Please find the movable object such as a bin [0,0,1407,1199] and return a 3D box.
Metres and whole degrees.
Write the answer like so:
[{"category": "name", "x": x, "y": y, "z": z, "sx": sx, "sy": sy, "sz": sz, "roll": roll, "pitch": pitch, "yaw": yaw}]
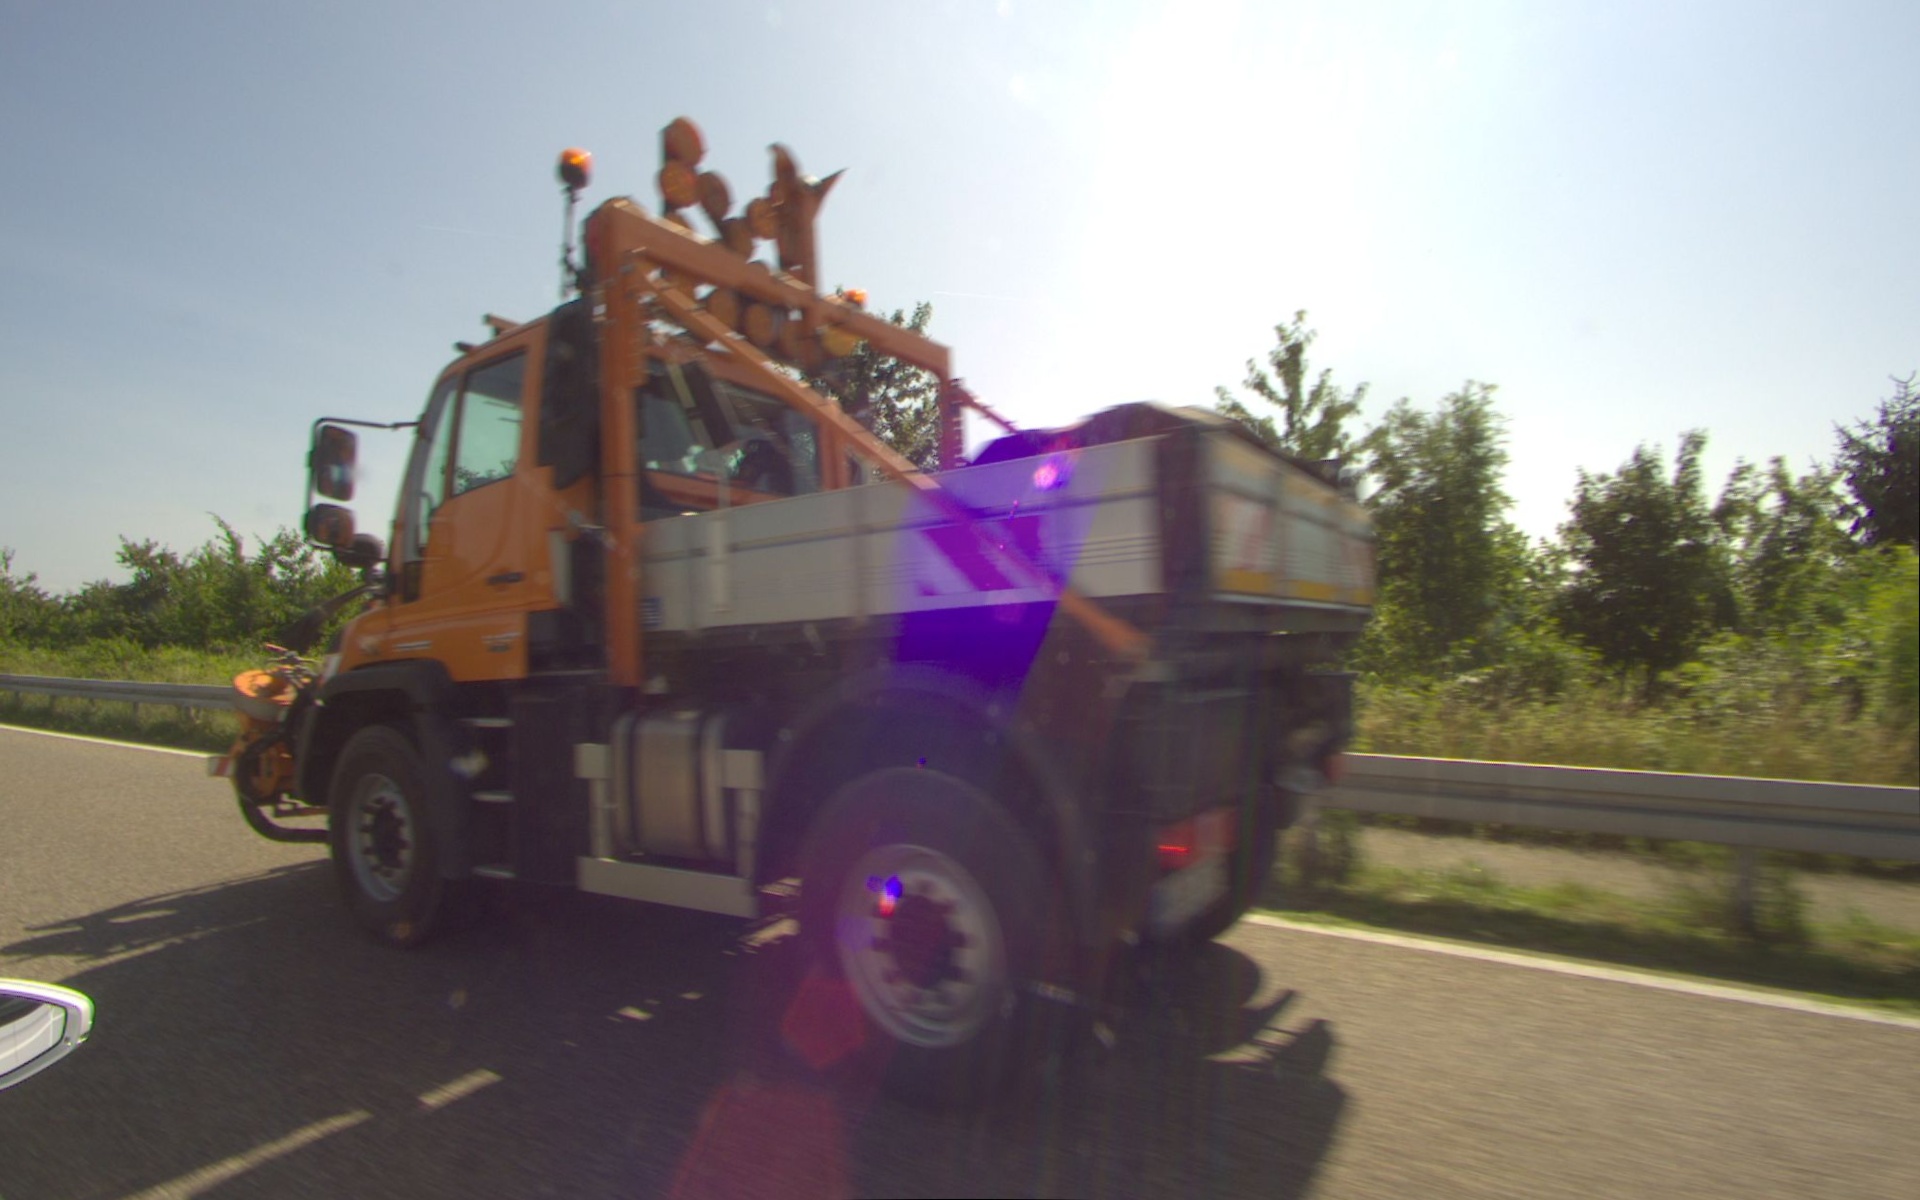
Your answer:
[{"category": "movable object such as a bin", "x": -2.590, "y": -0.321, "z": 5.981, "sx": 9.314, "sy": 3.889, "sz": 2.747, "roll": -1, "pitch": -1, "yaw": 34}]
